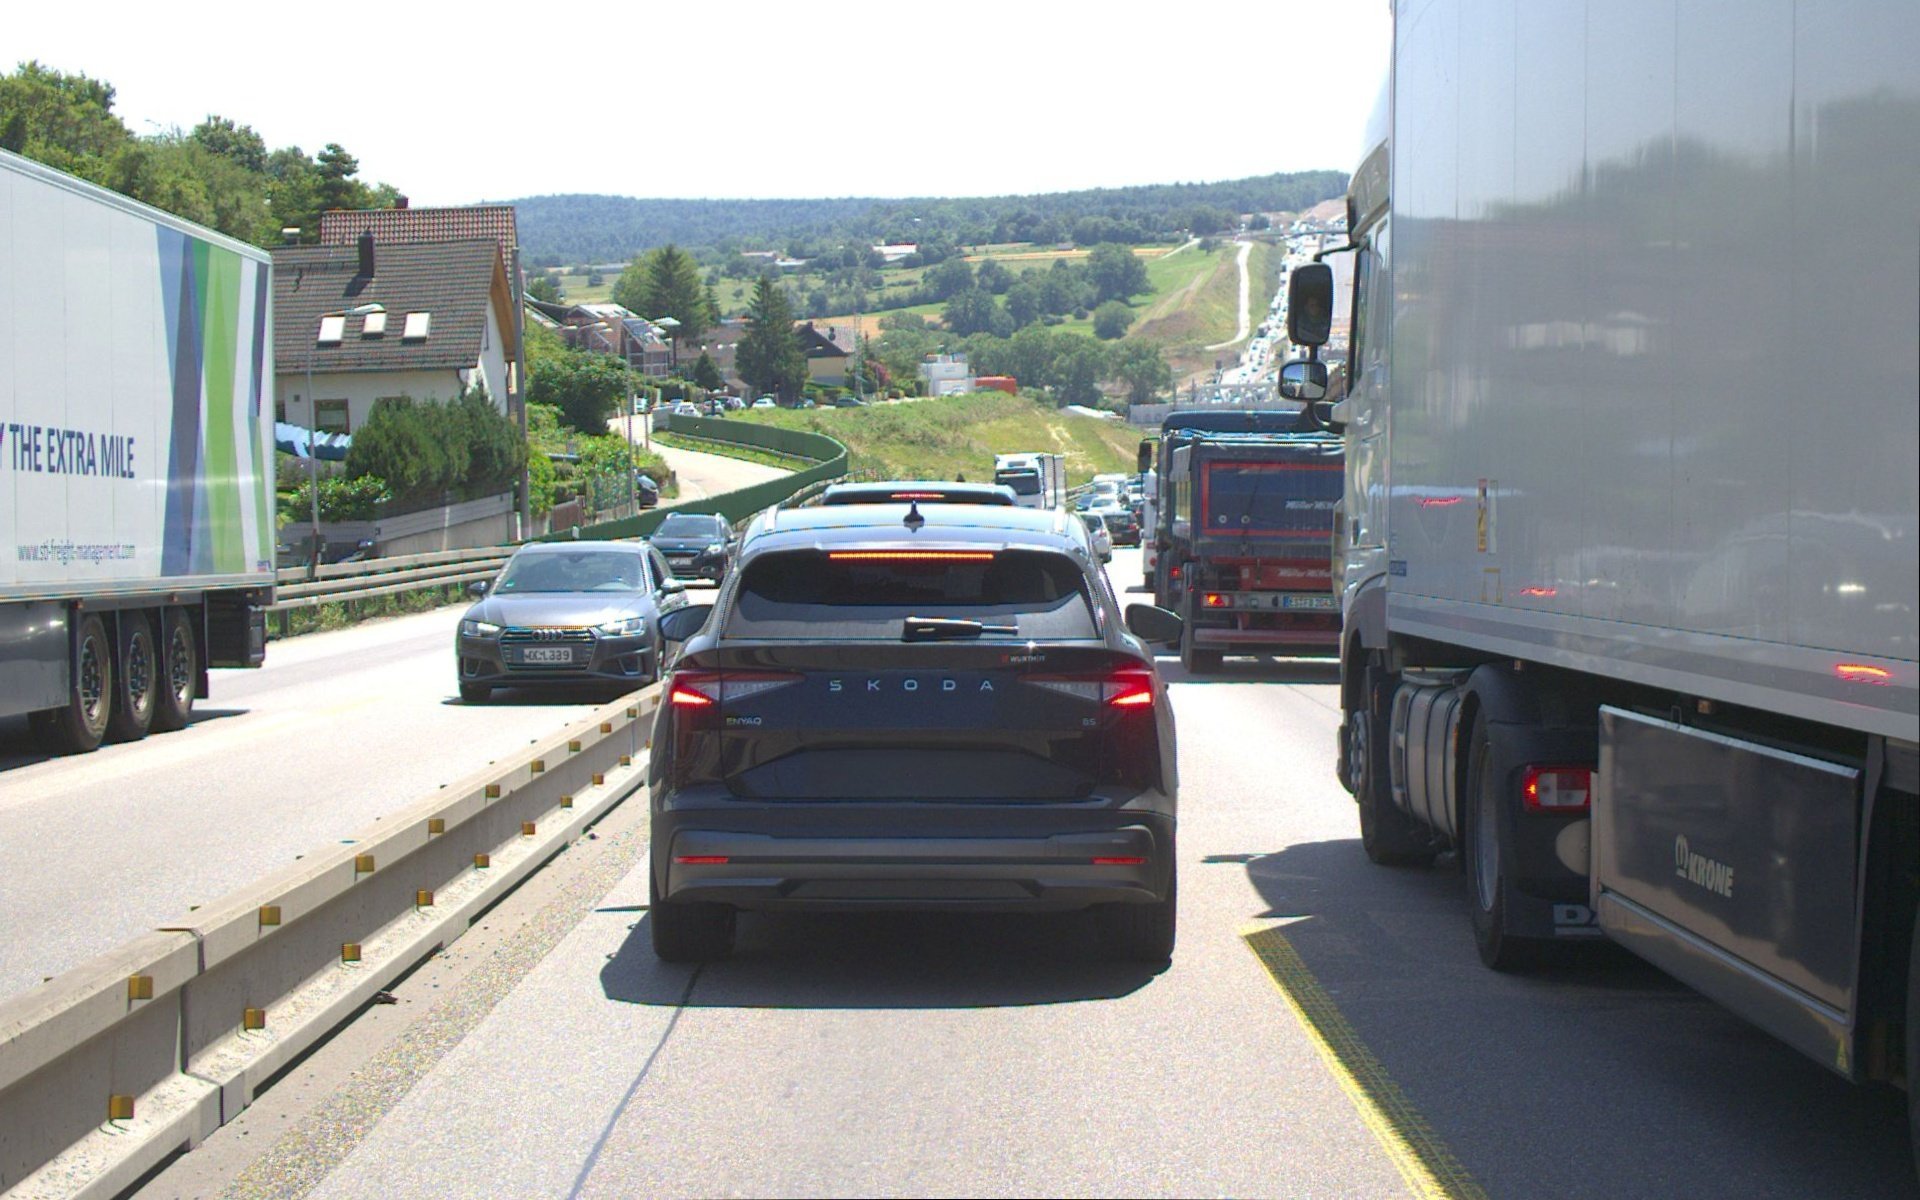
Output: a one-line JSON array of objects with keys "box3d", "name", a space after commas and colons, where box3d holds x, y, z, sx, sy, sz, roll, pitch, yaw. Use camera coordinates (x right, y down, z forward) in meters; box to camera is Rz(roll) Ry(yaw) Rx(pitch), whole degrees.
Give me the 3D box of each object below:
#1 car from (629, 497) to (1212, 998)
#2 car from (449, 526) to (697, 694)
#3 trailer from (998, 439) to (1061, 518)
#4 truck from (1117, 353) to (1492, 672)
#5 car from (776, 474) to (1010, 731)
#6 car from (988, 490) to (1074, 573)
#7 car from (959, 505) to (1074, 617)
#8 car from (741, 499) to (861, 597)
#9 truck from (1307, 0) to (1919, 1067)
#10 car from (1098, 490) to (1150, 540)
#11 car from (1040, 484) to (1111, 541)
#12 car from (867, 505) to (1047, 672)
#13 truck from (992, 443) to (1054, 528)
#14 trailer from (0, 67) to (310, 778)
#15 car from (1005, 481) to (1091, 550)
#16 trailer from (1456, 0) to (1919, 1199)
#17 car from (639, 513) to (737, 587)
[{"box3d": [-0.224, 0.450, 12.944, 1.842, 1.581, 3.908, 1, 1, -3], "name": "car"}, {"box3d": [-3.561, 0.059, 32.401, 1.790, 1.448, 4.635, -1, 1, 0], "name": "car"}, {"box3d": [3.739, -6.461, 182.663, 2.758, 4.056, 8.007, 1, 2, 5], "name": "trailer"}, {"box3d": [3.756, -0.960, 40.974, 3.195, 3.180, 12.809, 0, 1, 0], "name": "truck"}, {"box3d": [-0.601, -0.053, 27.578, 1.706, 1.875, 4.001, 1, 2, -3], "name": "car"}, {"box3d": [1.449, -1.450, 71.511, 1.707, 1.616, 4.000, 1, 2, 1], "name": "car"}, {"box3d": [0.868, -0.647, 53.951, 1.707, 1.616, 4.000, 1, 2, 1], "name": "car"}, {"box3d": [-2.768, -0.912, 60.512, 1.819, 1.581, 4.159, 2, 1, 1], "name": "car"}, {"box3d": [3.018, -0.834, 13.050, 2.513, 4.011, 8.238, 1, 1, 0], "name": "truck"}, {"box3d": [5.932, -3.058, 124.161, 1.701, 1.722, 3.836, 1, 1, 5], "name": "car"}, {"box3d": [3.340, -2.514, 99.589, 1.993, 1.579, 3.836, 1, 1, 2], "name": "car"}, {"box3d": [-0.081, -0.167, 36.902, 1.706, 1.616, 4.001, 1, 2, -3], "name": "car"}, {"box3d": [3.269, -5.912, 177.719, 2.752, 4.268, 4.956, 1, 2, 5], "name": "truck"}, {"box3d": [-7.502, -1.134, 23.503, 3.252, 4.363, 14.059, 1, 1, 1], "name": "trailer"}, {"box3d": [2.122, -2.012, 82.769, 1.993, 1.579, 3.836, 1, 1, 2], "name": "car"}, {"box3d": [3.019, -0.781, 6.267, 2.532, 4.112, 11.548, 1, 1, 0], "name": "trailer"}, {"box3d": [-5.597, -1.026, 71.072, 1.706, 1.460, 3.681, 1, 1, 0], "name": "car"}]
